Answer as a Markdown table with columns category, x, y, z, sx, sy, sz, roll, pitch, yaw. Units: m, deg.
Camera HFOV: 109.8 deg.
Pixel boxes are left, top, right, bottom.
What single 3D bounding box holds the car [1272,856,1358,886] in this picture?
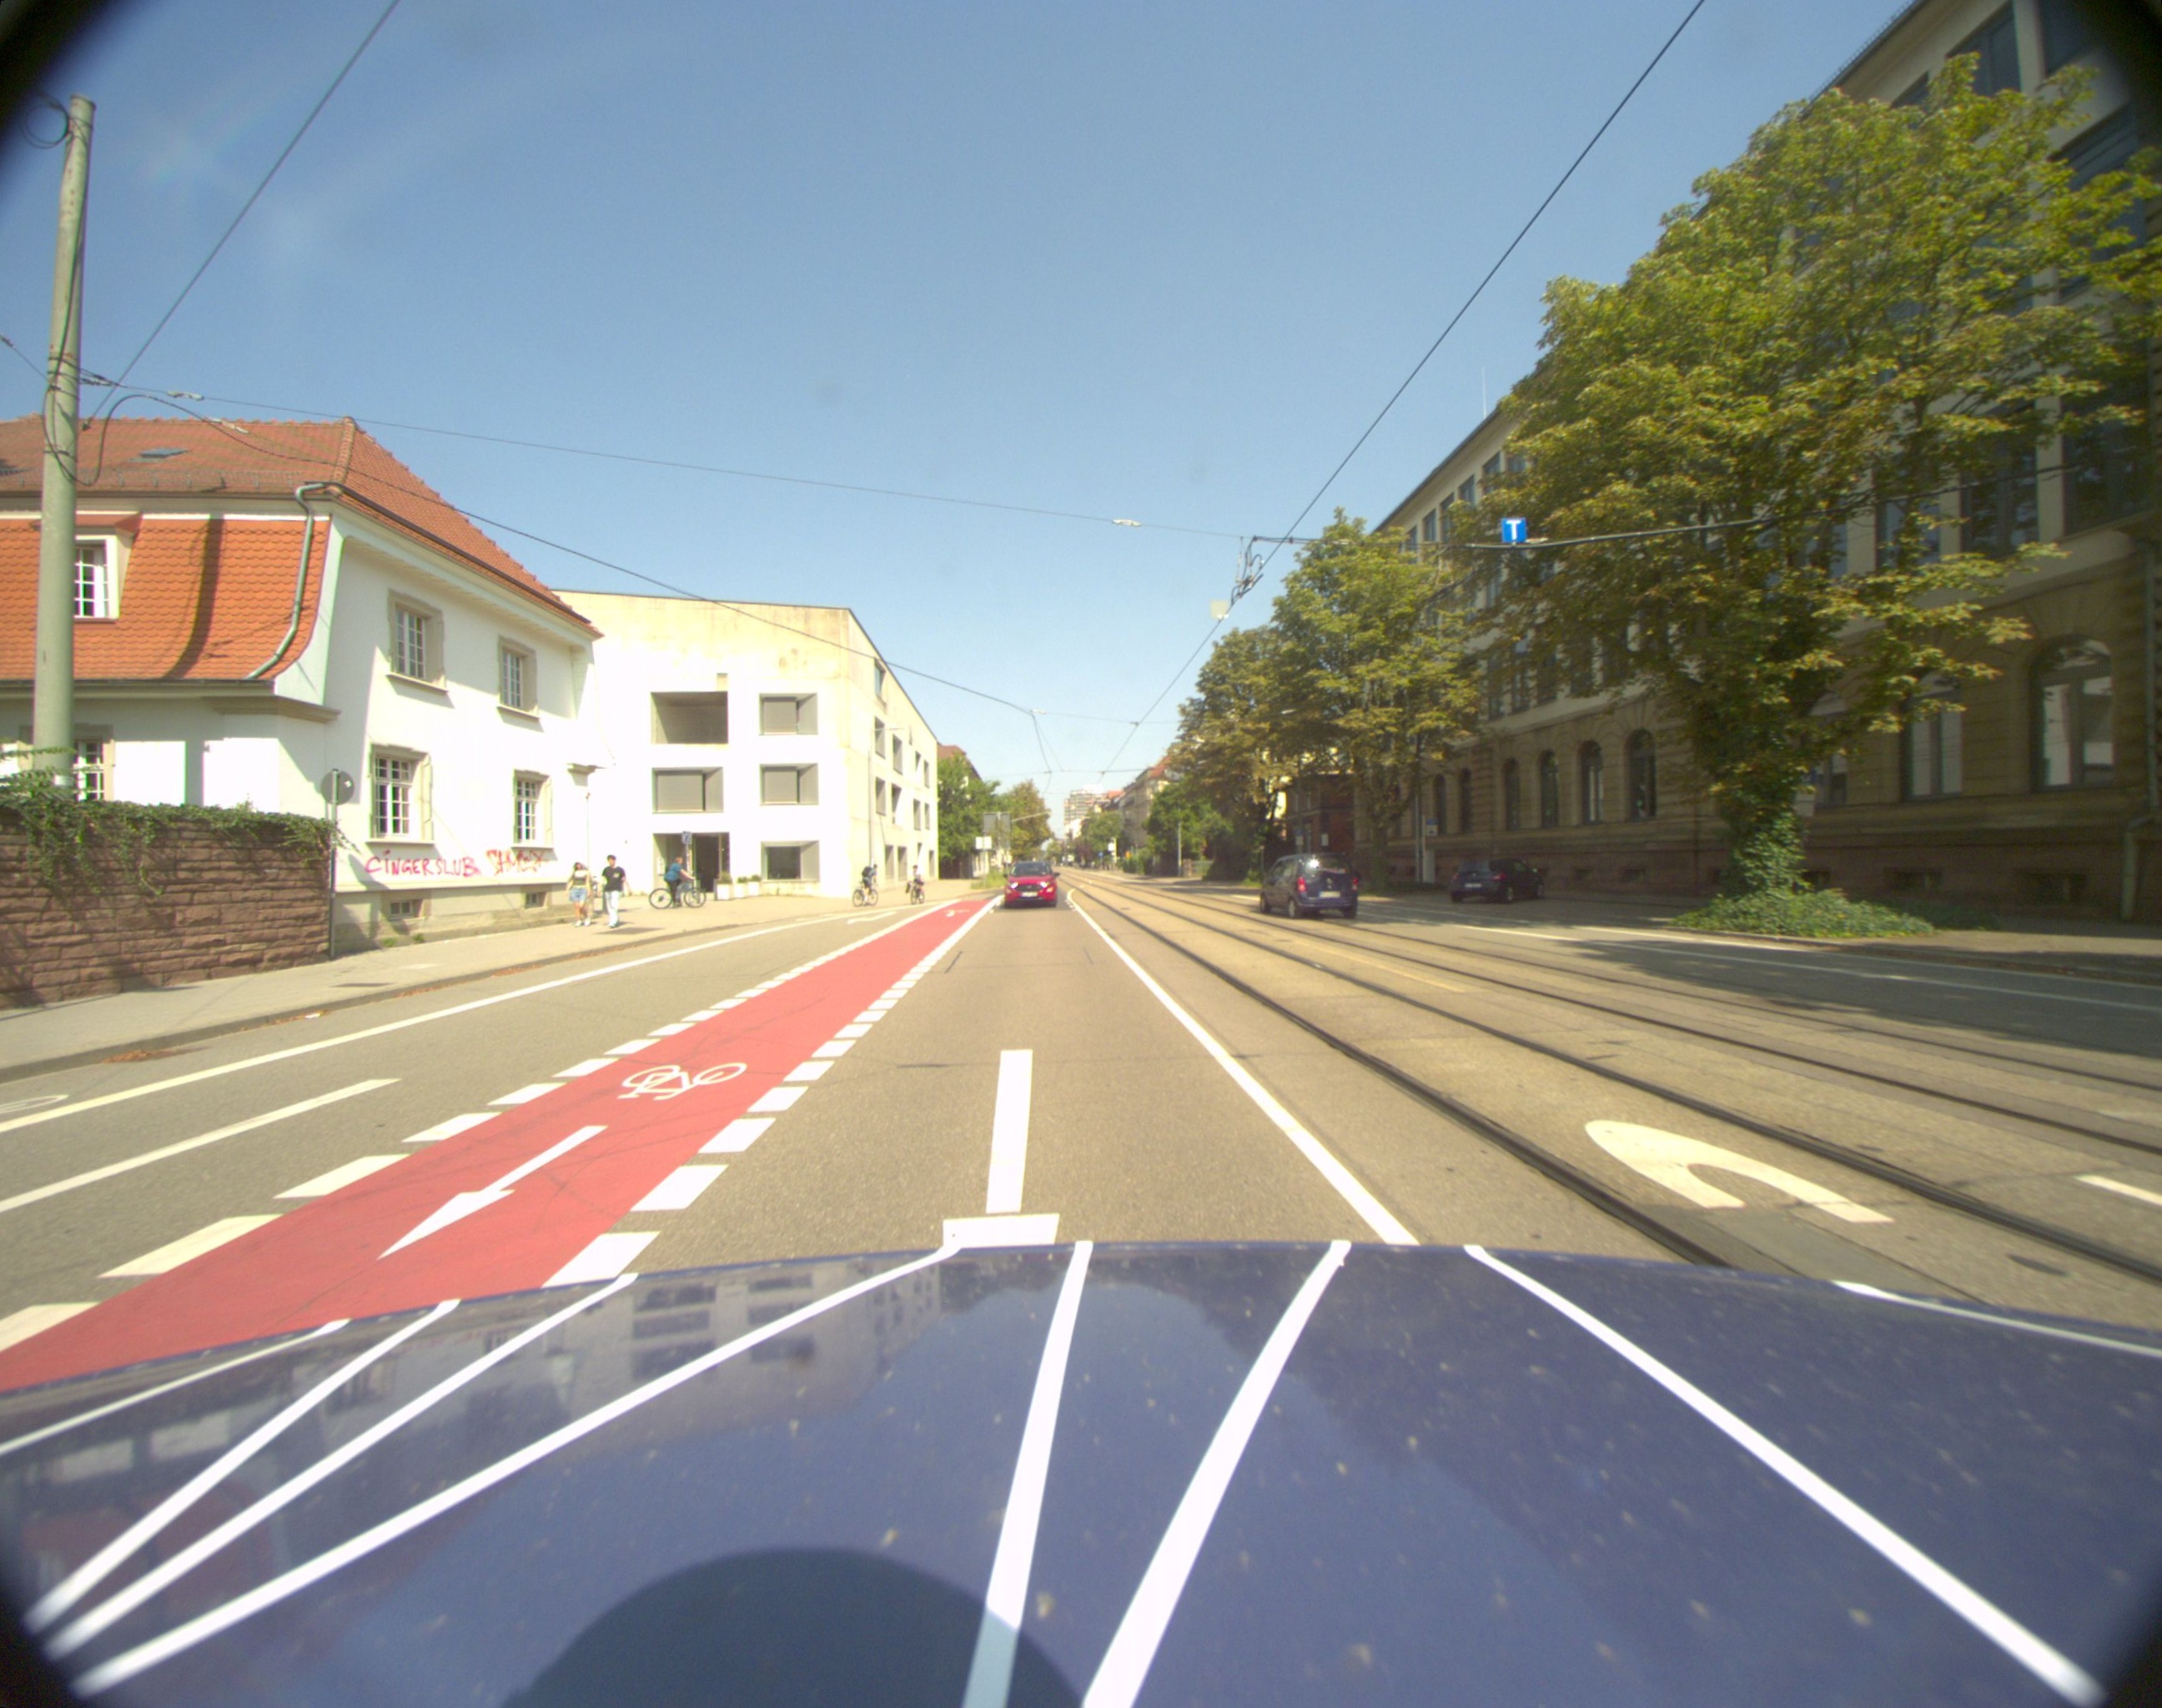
| category | x | y | z | sx | sy | sz | roll | pitch | yaw |
| --- | --- | --- | --- | --- | --- | --- | --- | --- | --- |
| car | 12.523 | 0.885 | 40.541 | 4.436 | 1.453 | 1.817 | -1 | 0 | -30 |

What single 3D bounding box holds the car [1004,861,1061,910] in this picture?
| category | x | y | z | sx | sy | sz | roll | pitch | yaw |
| --- | --- | --- | --- | --- | --- | --- | --- | --- | --- |
| car | -1.659 | 1.051 | 26.938 | 1.816 | 1.542 | 4.020 | -1 | -1 | -2 |

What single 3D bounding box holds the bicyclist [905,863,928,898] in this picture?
| category | x | y | z | sx | sy | sz | roll | pitch | yaw |
| --- | --- | --- | --- | --- | --- | --- | --- | --- | --- |
| bicyclist | -6.912 | 1.098 | 31.929 | 0.747 | 1.403 | 0.961 | -1 | 0 | -3 |

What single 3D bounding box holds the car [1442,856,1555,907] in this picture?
| category | x | y | z | sx | sy | sz | roll | pitch | yaw |
| --- | --- | --- | --- | --- | --- | --- | --- | --- | --- |
| car | 13.649 | 0.848 | 24.753 | 4.172 | 1.487 | 1.816 | -1 | -1 | -40 |

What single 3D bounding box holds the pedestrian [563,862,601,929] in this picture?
| category | x | y | z | sx | sy | sz | roll | pitch | yaw |
| --- | --- | --- | --- | --- | --- | --- | --- | --- | --- |
| pedestrian | -12.509 | 1.024 | 19.053 | 0.620 | 1.656 | 0.487 | -1 | 0 | -4 |

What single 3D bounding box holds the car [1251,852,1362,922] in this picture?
| category | x | y | z | sx | sy | sz | roll | pitch | yaw |
| --- | --- | --- | --- | --- | --- | --- | --- | --- | --- |
| car | 5.865 | 0.799 | 20.180 | 1.696 | 1.645 | 3.580 | -2 | 0 | -3 |

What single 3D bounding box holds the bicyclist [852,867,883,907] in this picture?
| category | x | y | z | sx | sy | sz | roll | pitch | yaw |
| --- | --- | --- | --- | --- | --- | --- | --- | --- | --- |
| bicyclist | -8.687 | 1.339 | 30.979 | 0.626 | 1.589 | 0.995 | 2 | 0 | 38 |

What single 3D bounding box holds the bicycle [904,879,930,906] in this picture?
| category | x | y | z | sx | sy | sz | roll | pitch | yaw |
| --- | --- | --- | --- | --- | --- | --- | --- | --- | --- |
| bicycle | -6.891 | 1.601 | 32.031 | 0.741 | 1.042 | 2.232 | -1 | 0 | -3 |

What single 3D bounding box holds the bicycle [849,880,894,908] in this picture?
| category | x | y | z | sx | sy | sz | roll | pitch | yaw |
| --- | --- | --- | --- | --- | --- | --- | --- | --- | --- |
| bicycle | -8.558 | 1.623 | 31.133 | 0.614 | 0.994 | 1.714 | -1 | 1 | 36 |

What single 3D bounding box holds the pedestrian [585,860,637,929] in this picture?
| category | x | y | z | sx | sy | sz | roll | pitch | yaw |
| --- | --- | --- | --- | --- | --- | --- | --- | --- | --- |
| pedestrian | -11.766 | 0.996 | 19.056 | 0.729 | 1.656 | 0.879 | -1 | 0 | -1 |

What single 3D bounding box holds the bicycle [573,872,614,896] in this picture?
| category | x | y | z | sx | sy | sz | roll | pitch | yaw |
| --- | --- | --- | --- | --- | --- | --- | --- | --- | --- |
| bicycle | -21.563 | 1.304 | 33.646 | 0.619 | 0.949 | 1.684 | -1 | 2 | 3 |

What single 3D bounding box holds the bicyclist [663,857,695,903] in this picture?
| category | x | y | z | sx | sy | sz | roll | pitch | yaw |
| --- | --- | --- | --- | --- | --- | --- | --- | --- | --- |
| bicyclist | -13.883 | 0.895 | 26.249 | 0.905 | 1.530 | 0.626 | 2 | 0 | -33 |

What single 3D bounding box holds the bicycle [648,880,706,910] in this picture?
| category | x | y | z | sx | sy | sz | roll | pitch | yaw |
| --- | --- | --- | --- | --- | --- | --- | --- | --- | --- |
| bicycle | -13.930 | 1.412 | 26.209 | 1.714 | 0.994 | 0.614 | 1 | -1 | -33 |
